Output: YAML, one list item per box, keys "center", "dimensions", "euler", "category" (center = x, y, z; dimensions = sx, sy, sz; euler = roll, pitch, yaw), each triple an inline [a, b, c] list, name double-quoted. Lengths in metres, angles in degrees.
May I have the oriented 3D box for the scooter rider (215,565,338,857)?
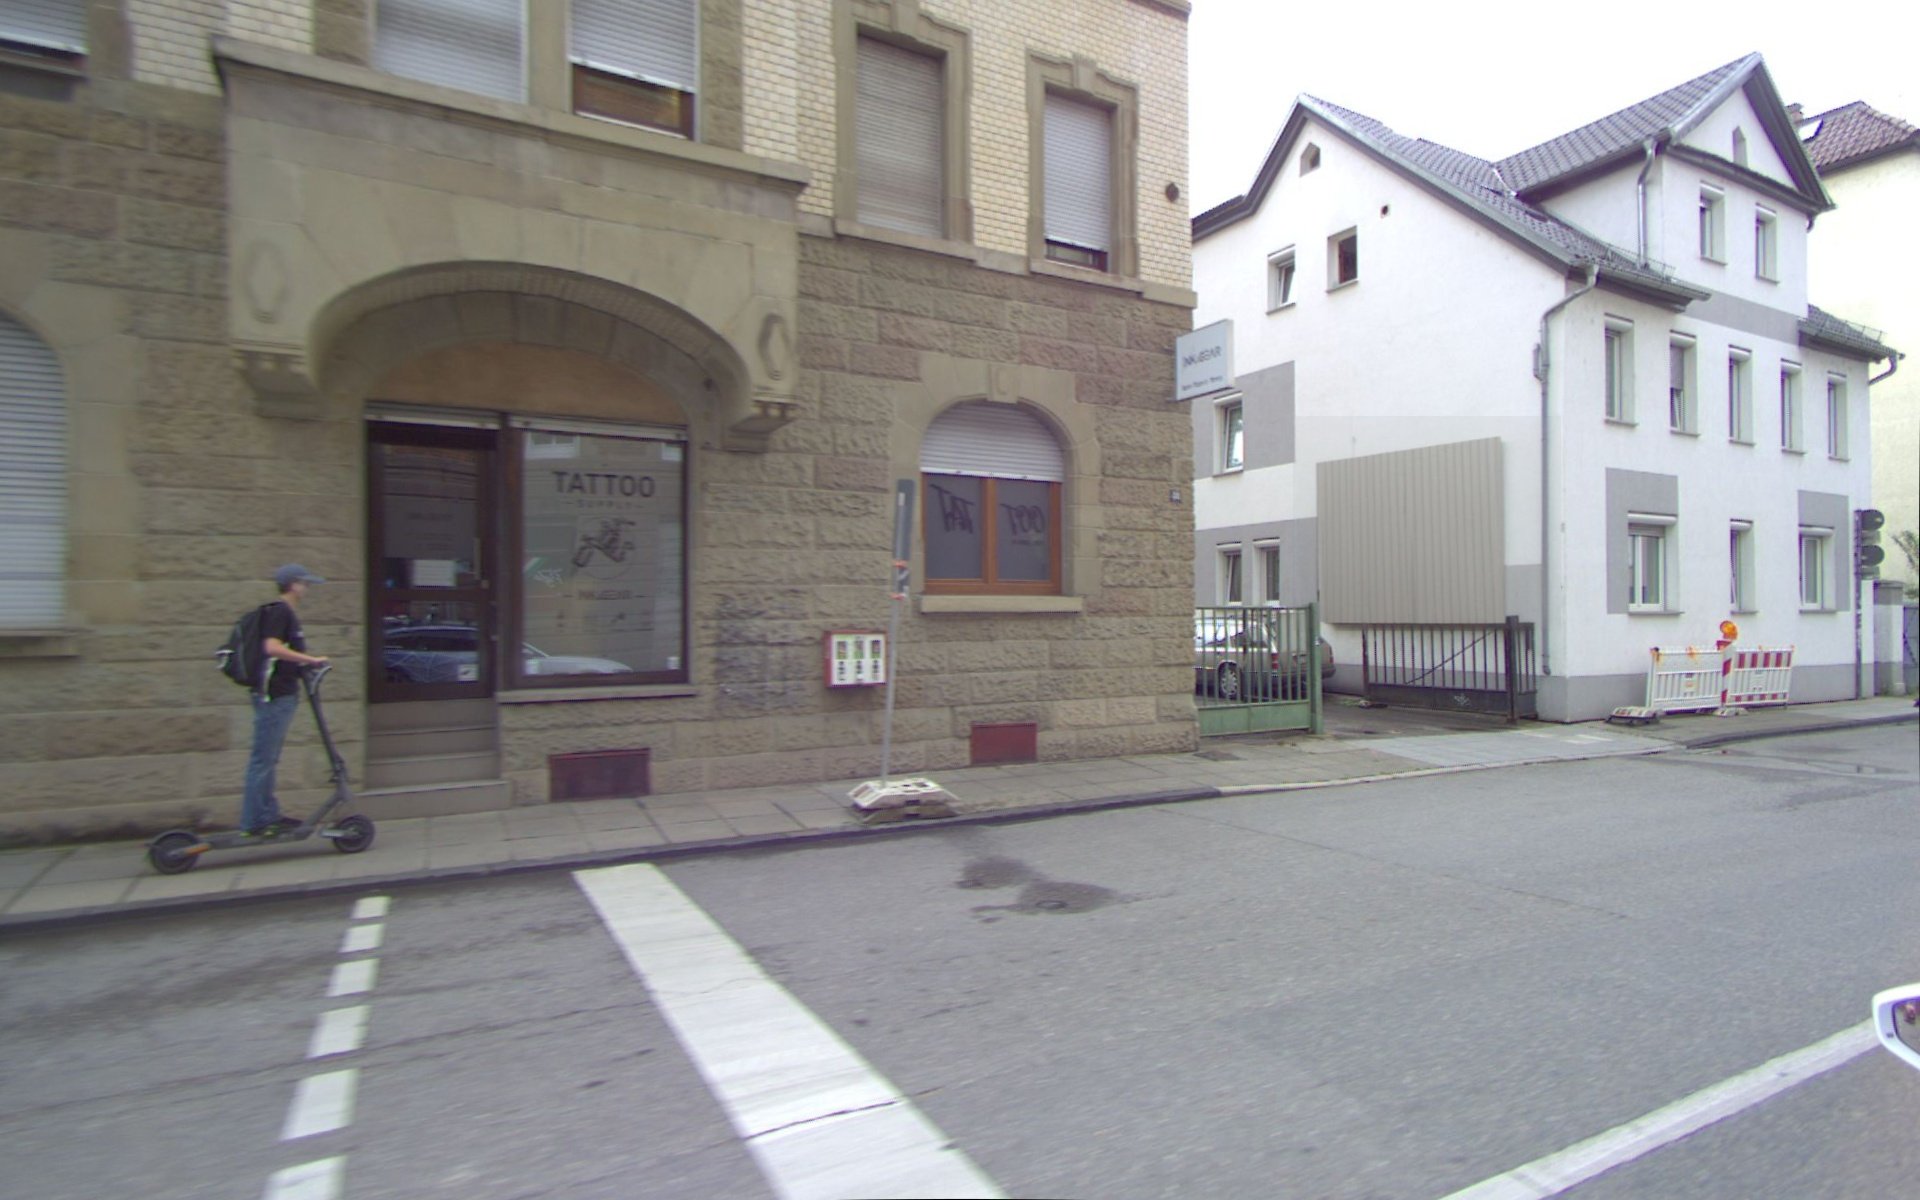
- center: [-4.273, 0.662, 6.306]
  dimensions: [0.570, 1.728, 0.485]
  euler: [1, 3, -28]
  category: "scooter rider"

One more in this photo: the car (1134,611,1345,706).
- center: [5.279, 1.039, 19.474]
  dimensions: [1.775, 1.592, 3.900]
  euler: [1, 0, -27]
  category: "car"

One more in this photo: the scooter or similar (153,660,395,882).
- center: [-4.272, 1.032, 6.328]
  dimensions: [1.211, 1.259, 0.376]
  euler: [1, 2, -28]
  category: "scooter or similar"
